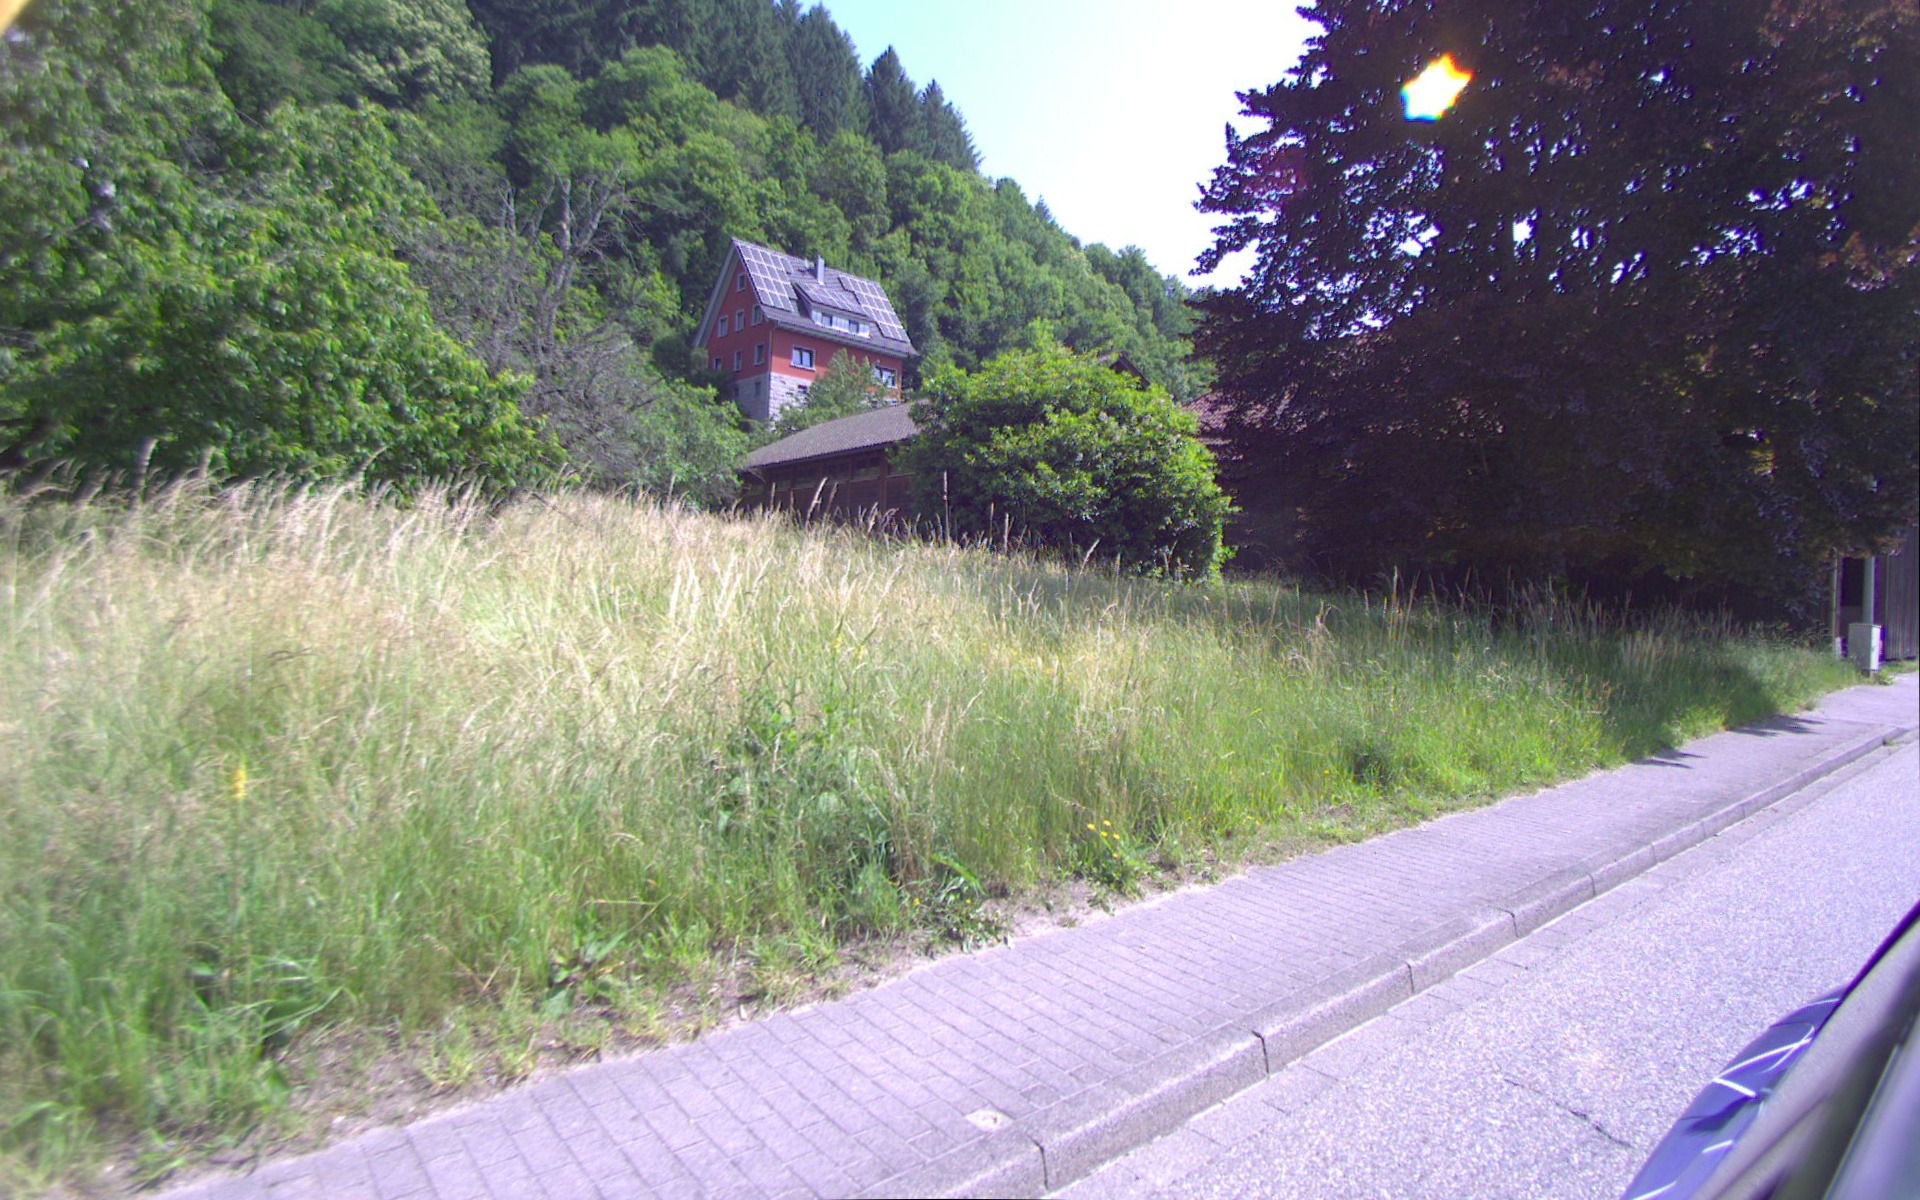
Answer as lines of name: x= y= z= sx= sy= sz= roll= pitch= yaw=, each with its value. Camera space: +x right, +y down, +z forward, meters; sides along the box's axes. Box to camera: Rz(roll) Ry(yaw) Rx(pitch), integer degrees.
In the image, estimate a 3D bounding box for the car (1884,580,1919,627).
car: x=38.152 y=0.335 z=38.304 sx=1.742 sy=1.706 sz=4.242 roll=1 pitch=6 yaw=-32
